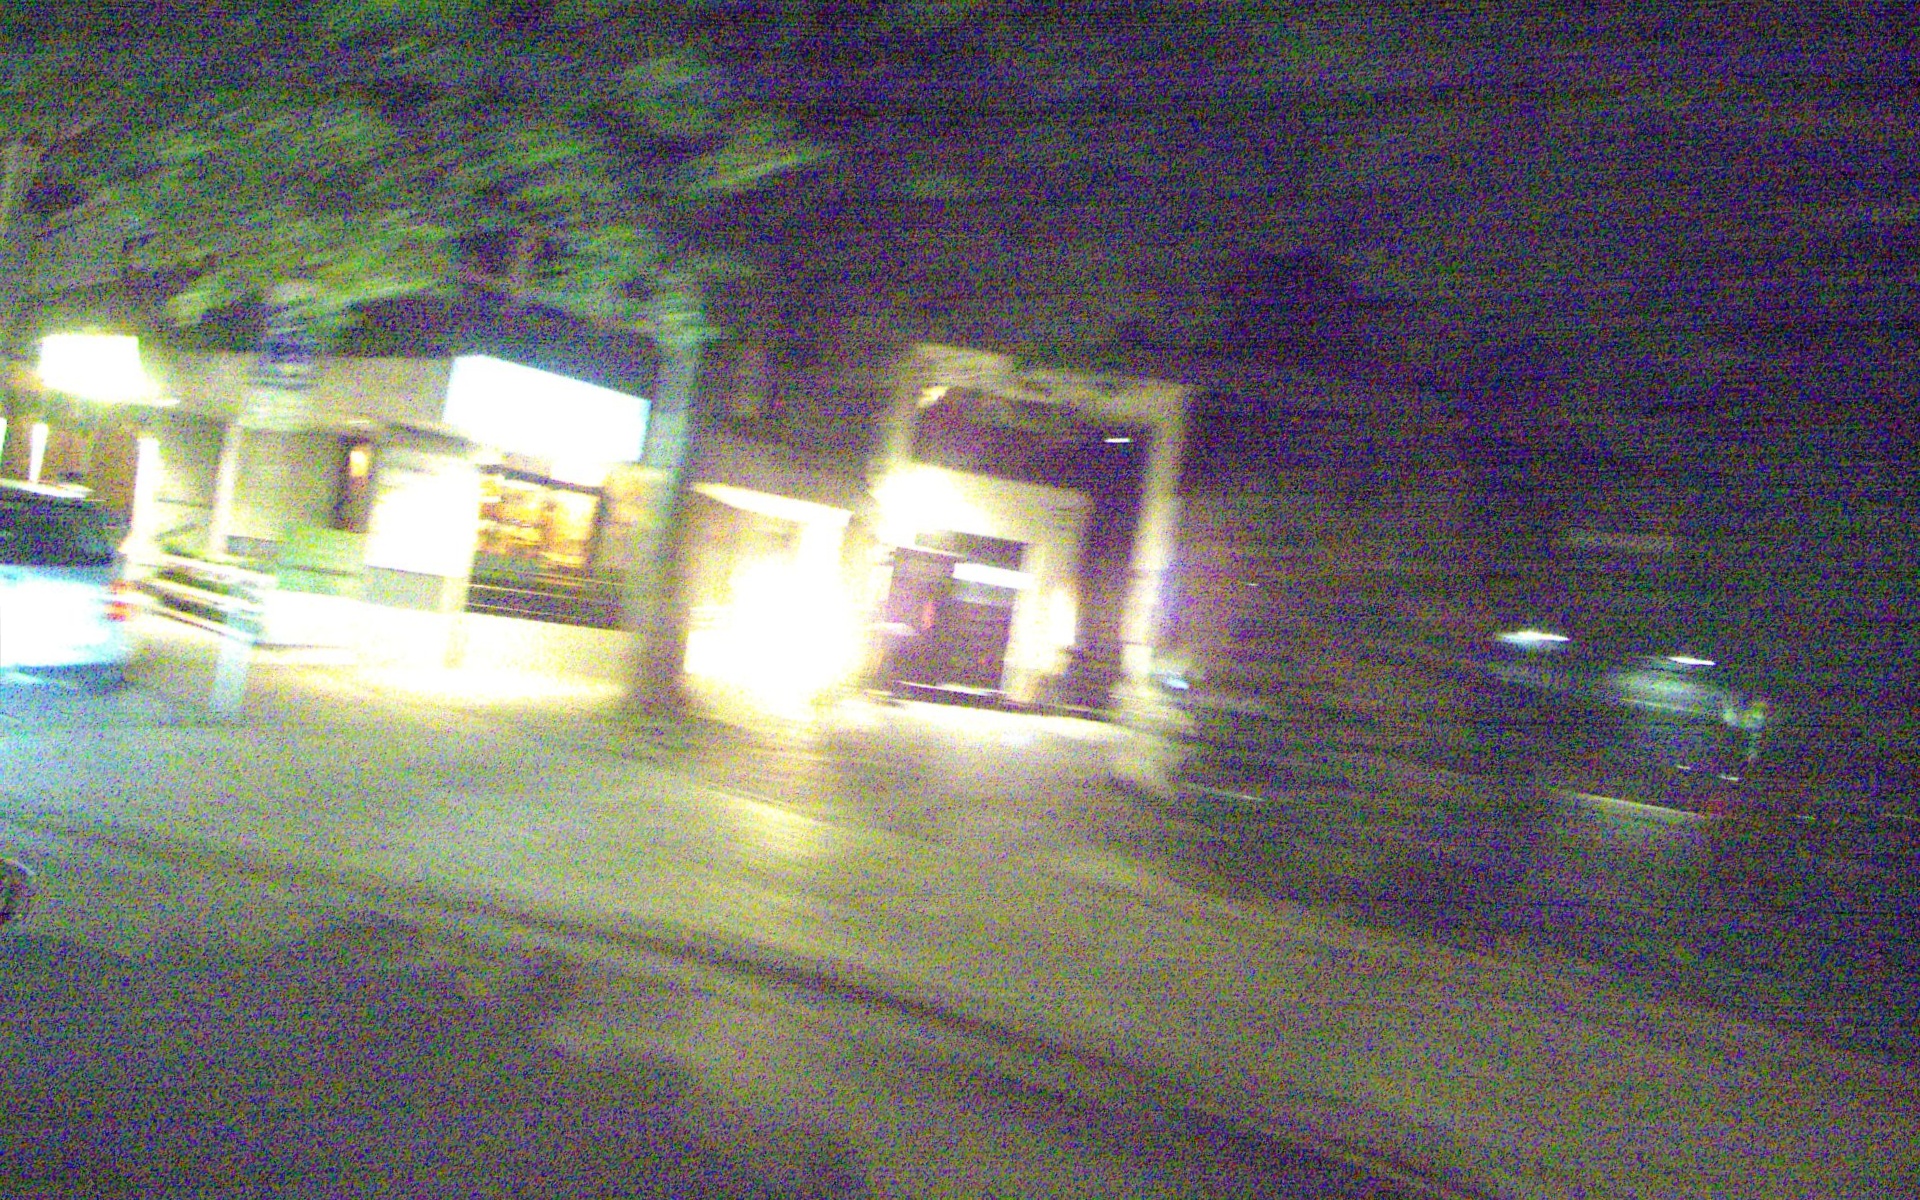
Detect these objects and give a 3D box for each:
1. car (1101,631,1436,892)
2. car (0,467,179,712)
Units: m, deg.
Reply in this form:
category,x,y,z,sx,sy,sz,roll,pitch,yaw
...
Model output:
category,x,y,z,sx,sy,sz,roll,pitch,yaw
car,2.445,1.196,9.092,1.675,1.604,4.070,7,-1,1
car,-8.282,-0.272,8.051,4.308,1.662,1.788,7,1,33
